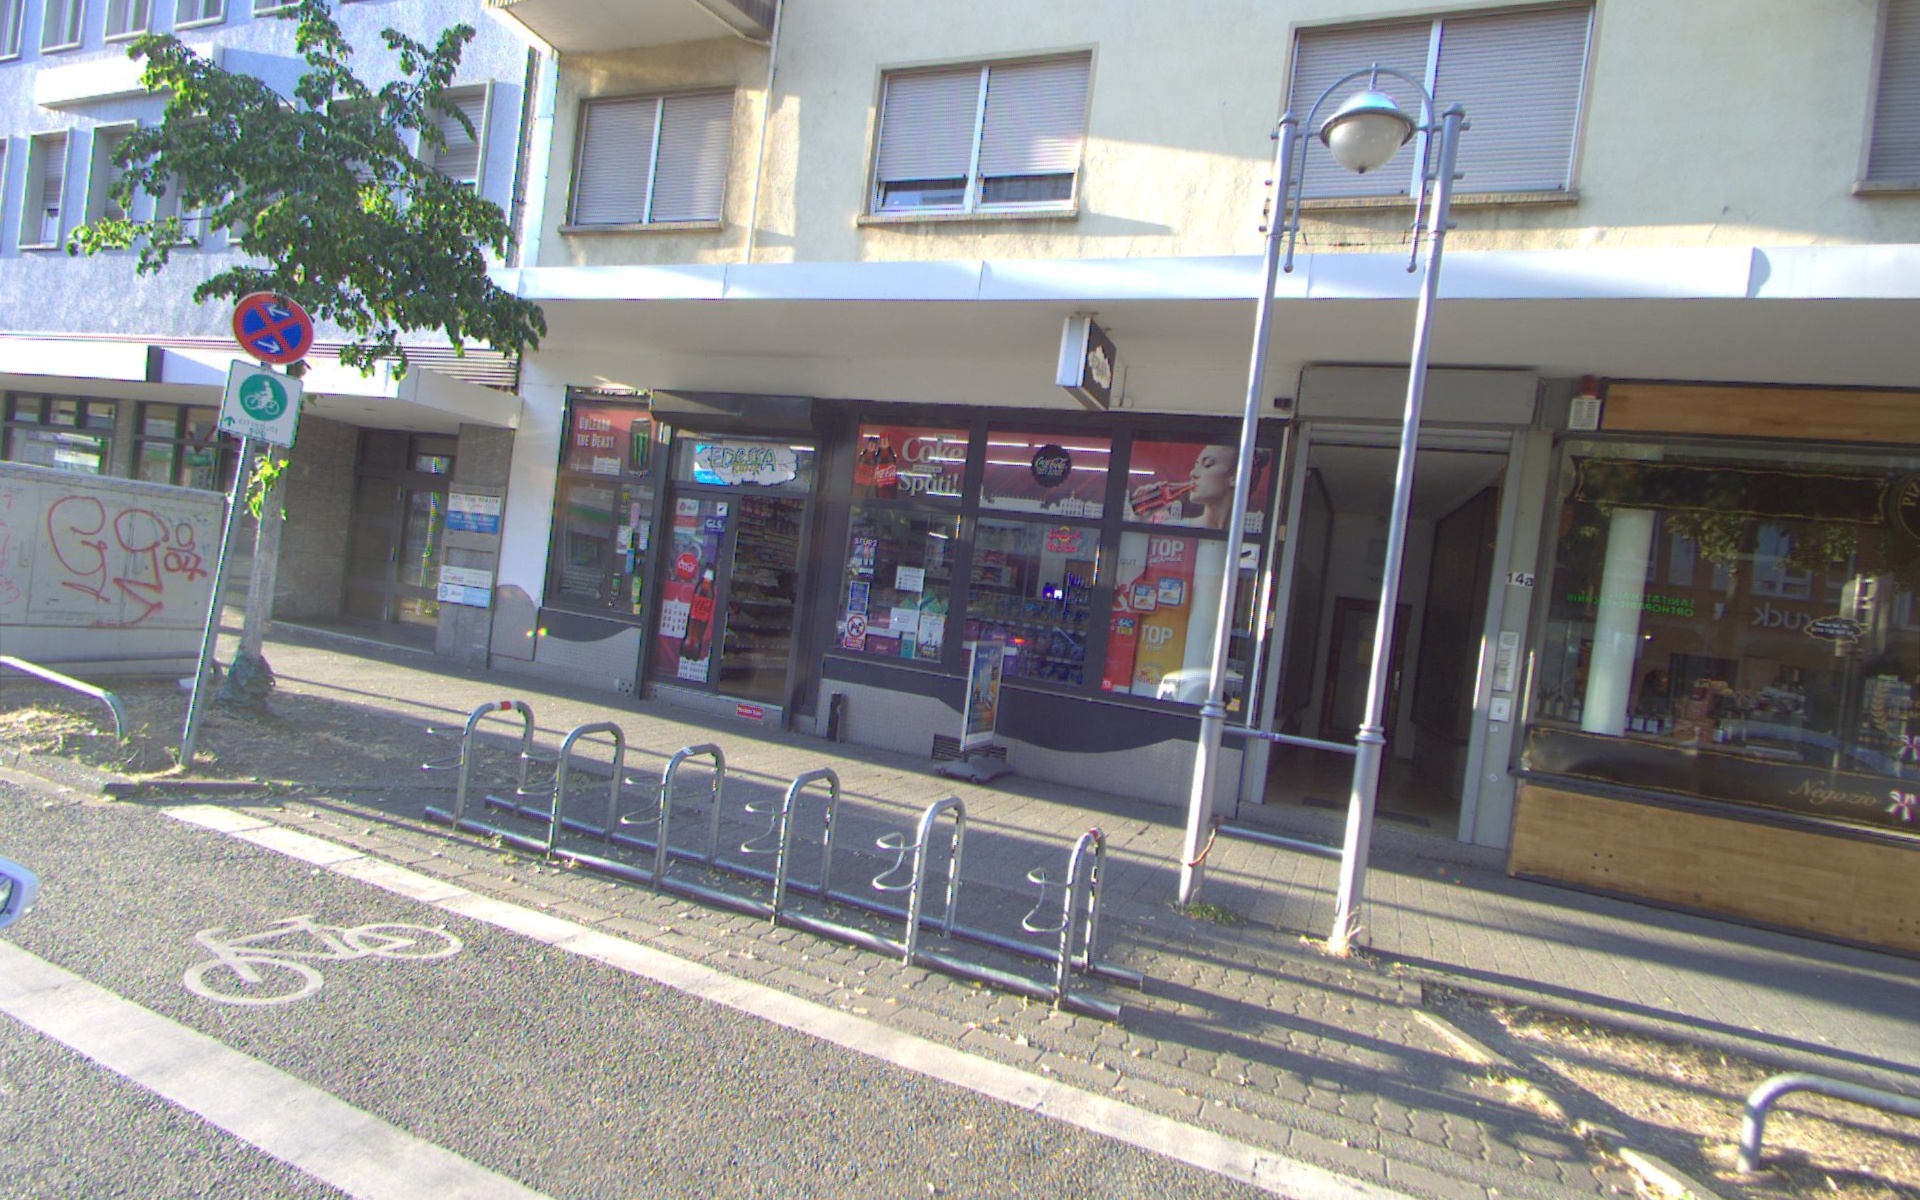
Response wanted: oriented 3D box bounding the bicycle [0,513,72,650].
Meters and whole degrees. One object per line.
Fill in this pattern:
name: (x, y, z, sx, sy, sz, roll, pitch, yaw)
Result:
bicycle: (-9.089, -0.219, 9.093, 0.376, 1.234, 1.445, 7, -1, 25)
